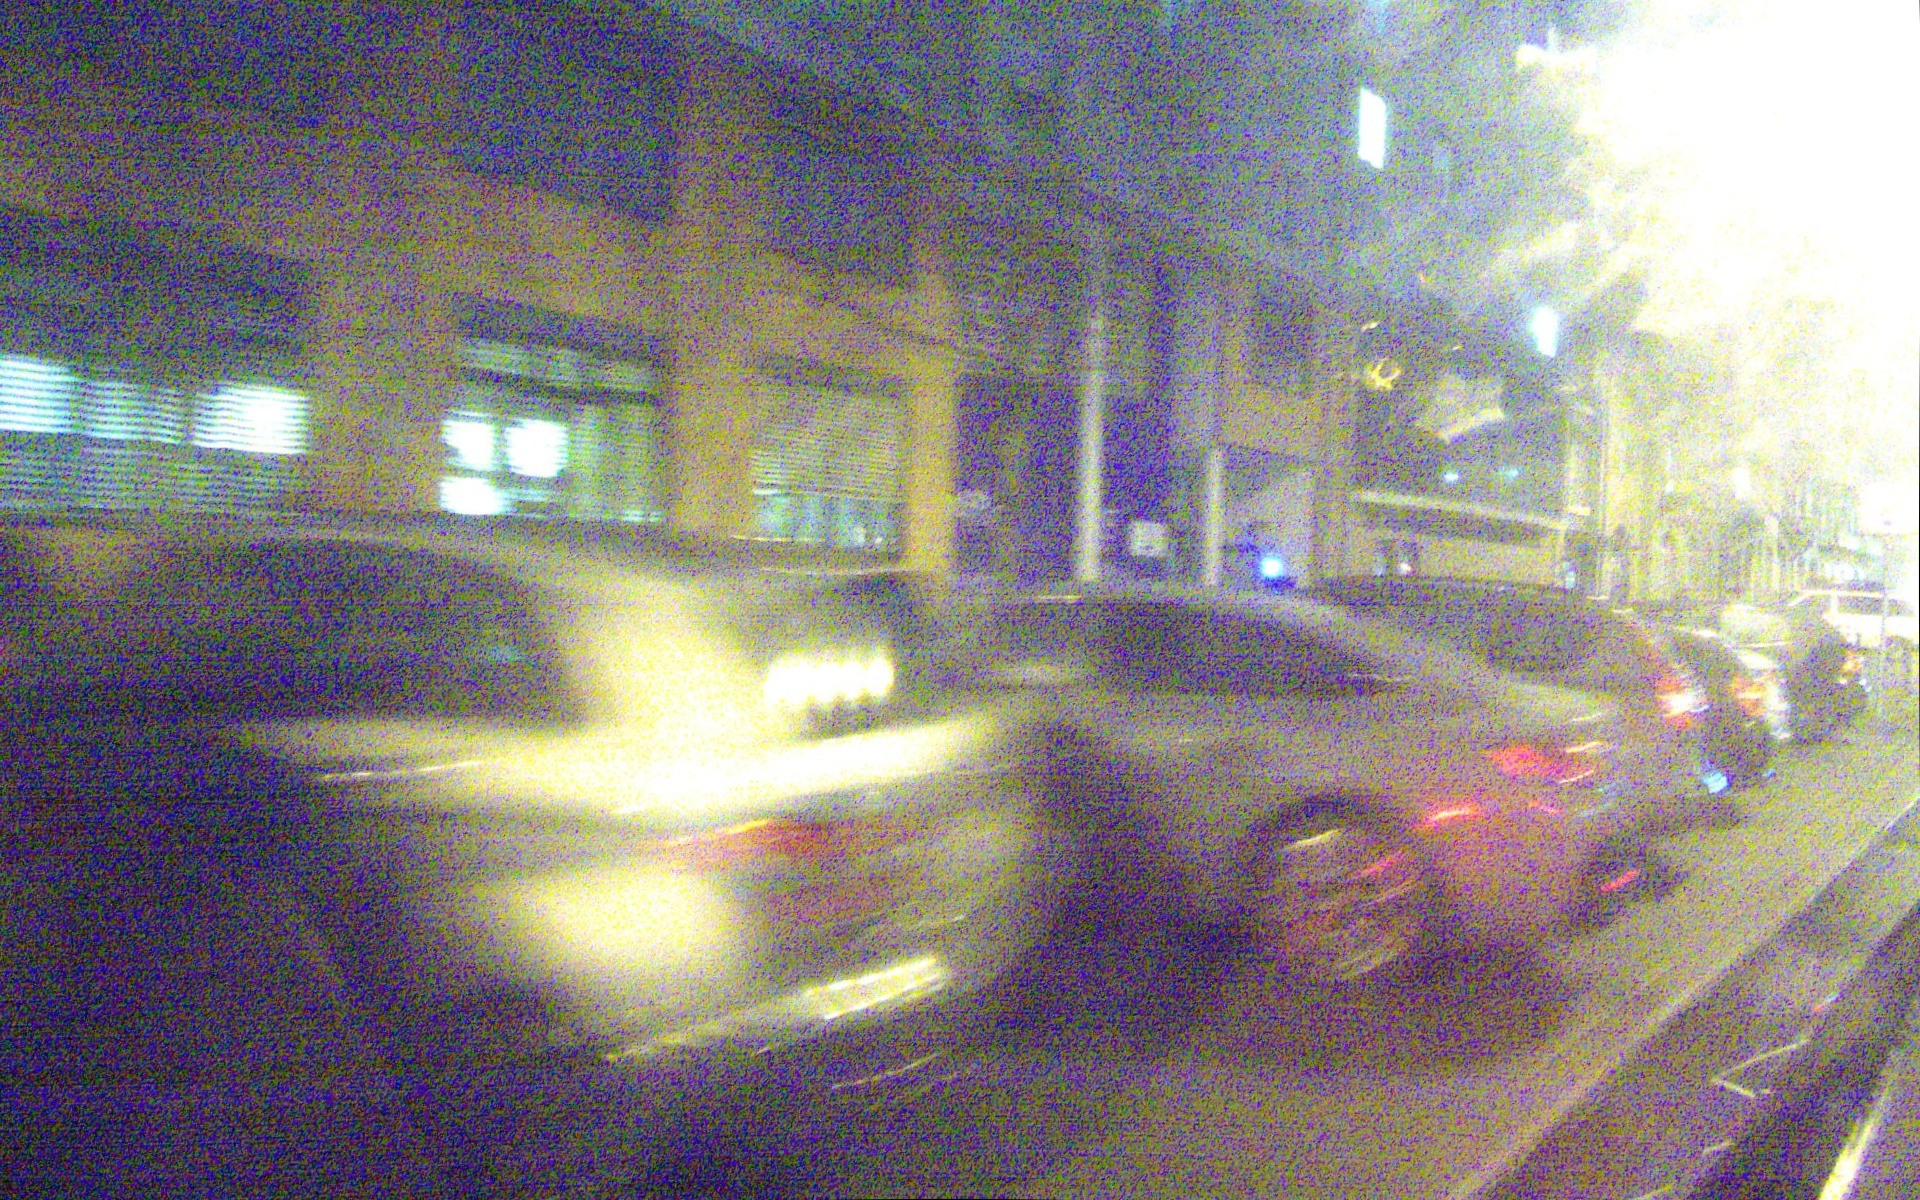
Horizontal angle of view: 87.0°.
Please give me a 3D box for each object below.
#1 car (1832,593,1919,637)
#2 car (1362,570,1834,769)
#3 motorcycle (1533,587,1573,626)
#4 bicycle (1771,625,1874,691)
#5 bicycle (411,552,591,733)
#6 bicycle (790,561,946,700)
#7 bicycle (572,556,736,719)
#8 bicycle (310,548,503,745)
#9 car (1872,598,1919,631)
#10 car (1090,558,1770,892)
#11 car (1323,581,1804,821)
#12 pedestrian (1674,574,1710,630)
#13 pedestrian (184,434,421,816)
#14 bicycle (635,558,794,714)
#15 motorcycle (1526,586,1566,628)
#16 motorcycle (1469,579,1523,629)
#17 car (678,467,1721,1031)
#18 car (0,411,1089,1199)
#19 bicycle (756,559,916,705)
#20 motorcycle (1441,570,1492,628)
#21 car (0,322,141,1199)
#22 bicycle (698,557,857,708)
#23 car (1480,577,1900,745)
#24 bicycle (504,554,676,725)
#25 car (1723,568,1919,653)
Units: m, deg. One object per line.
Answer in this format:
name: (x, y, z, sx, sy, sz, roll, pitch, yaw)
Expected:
car: (39.698, 0.653, 42.807, 3.754, 1.710, 1.825, 3, 1, 19)
car: (6.096, 0.552, 10.192, 3.674, 1.541, 1.643, 4, 3, 25)
motorcycle: (16.834, 0.176, 28.718, 1.597, 1.081, 0.523, 1, 0, -43)
bicycle: (13.546, 0.897, 15.913, 0.297, 0.960, 1.212, 1, 0, -43)
bicycle: (-3.517, 0.266, 7.679, 1.685, 1.160, 0.588, 6, 3, 42)
bicycle: (-0.927, 0.254, 9.826, 1.685, 1.160, 0.422, 6, 3, 42)
bicycle: (-2.599, 0.265, 8.491, 1.685, 1.160, 0.478, 6, 3, 42)
bicycle: (-3.952, 0.267, 7.168, 1.685, 1.160, 0.655, 6, 3, 42)
car: (46.783, 0.775, 48.608, 4.051, 1.510, 1.589, 3, 2, 12)
car: (2.804, 0.591, 6.559, 3.533, 1.631, 1.696, 1, 0, 29)
car: (4.584, 0.651, 8.061, 3.021, 1.571, 1.490, 1, 0, 29)
pedestrian: (25.176, 0.068, 34.809, 0.828, 1.864, 0.747, 4, 1, -42)
pedestrian: (-3.584, 0.078, 5.507, 0.932, 1.856, 0.840, -1, 7, -44)
bicycle: (-2.167, 0.265, 8.793, 1.685, 1.160, 0.422, 6, 3, 42)
motorcycle: (15.709, 0.174, 27.113, 0.522, 1.081, 2.027, 1, 1, 41)
motorcycle: (13.787, 0.104, 26.023, 2.089, 1.223, 0.523, 1, 0, -42)
car: (0.882, 0.448, 4.861, 4.060, 1.787, 1.845, 1, 0, 23)
car: (-1.745, 0.464, 3.332, 4.012, 1.631, 1.832, 1, 0, 21)
bicycle: (-1.186, 0.253, 9.395, 1.685, 1.160, 0.422, 6, 3, 42)
motorcycle: (12.131, -0.015, 24.209, 0.522, 1.335, 2.093, 1, 0, 42)
car: (-3.385, 0.433, 1.545, 3.759, 1.750, 1.728, 1, 0, 22)
bicycle: (-1.672, 0.245, 9.082, 1.685, 1.160, 0.422, 6, 3, 42)
car: (8.291, 0.595, 11.947, 3.674, 1.541, 1.643, 4, 3, 25)
bicycle: (-2.991, 0.266, 8.095, 1.685, 1.160, 0.533, 6, 3, 42)
car: (26.883, 0.279, 31.113, 4.872, 2.370, 2.221, 2, 1, 16)
